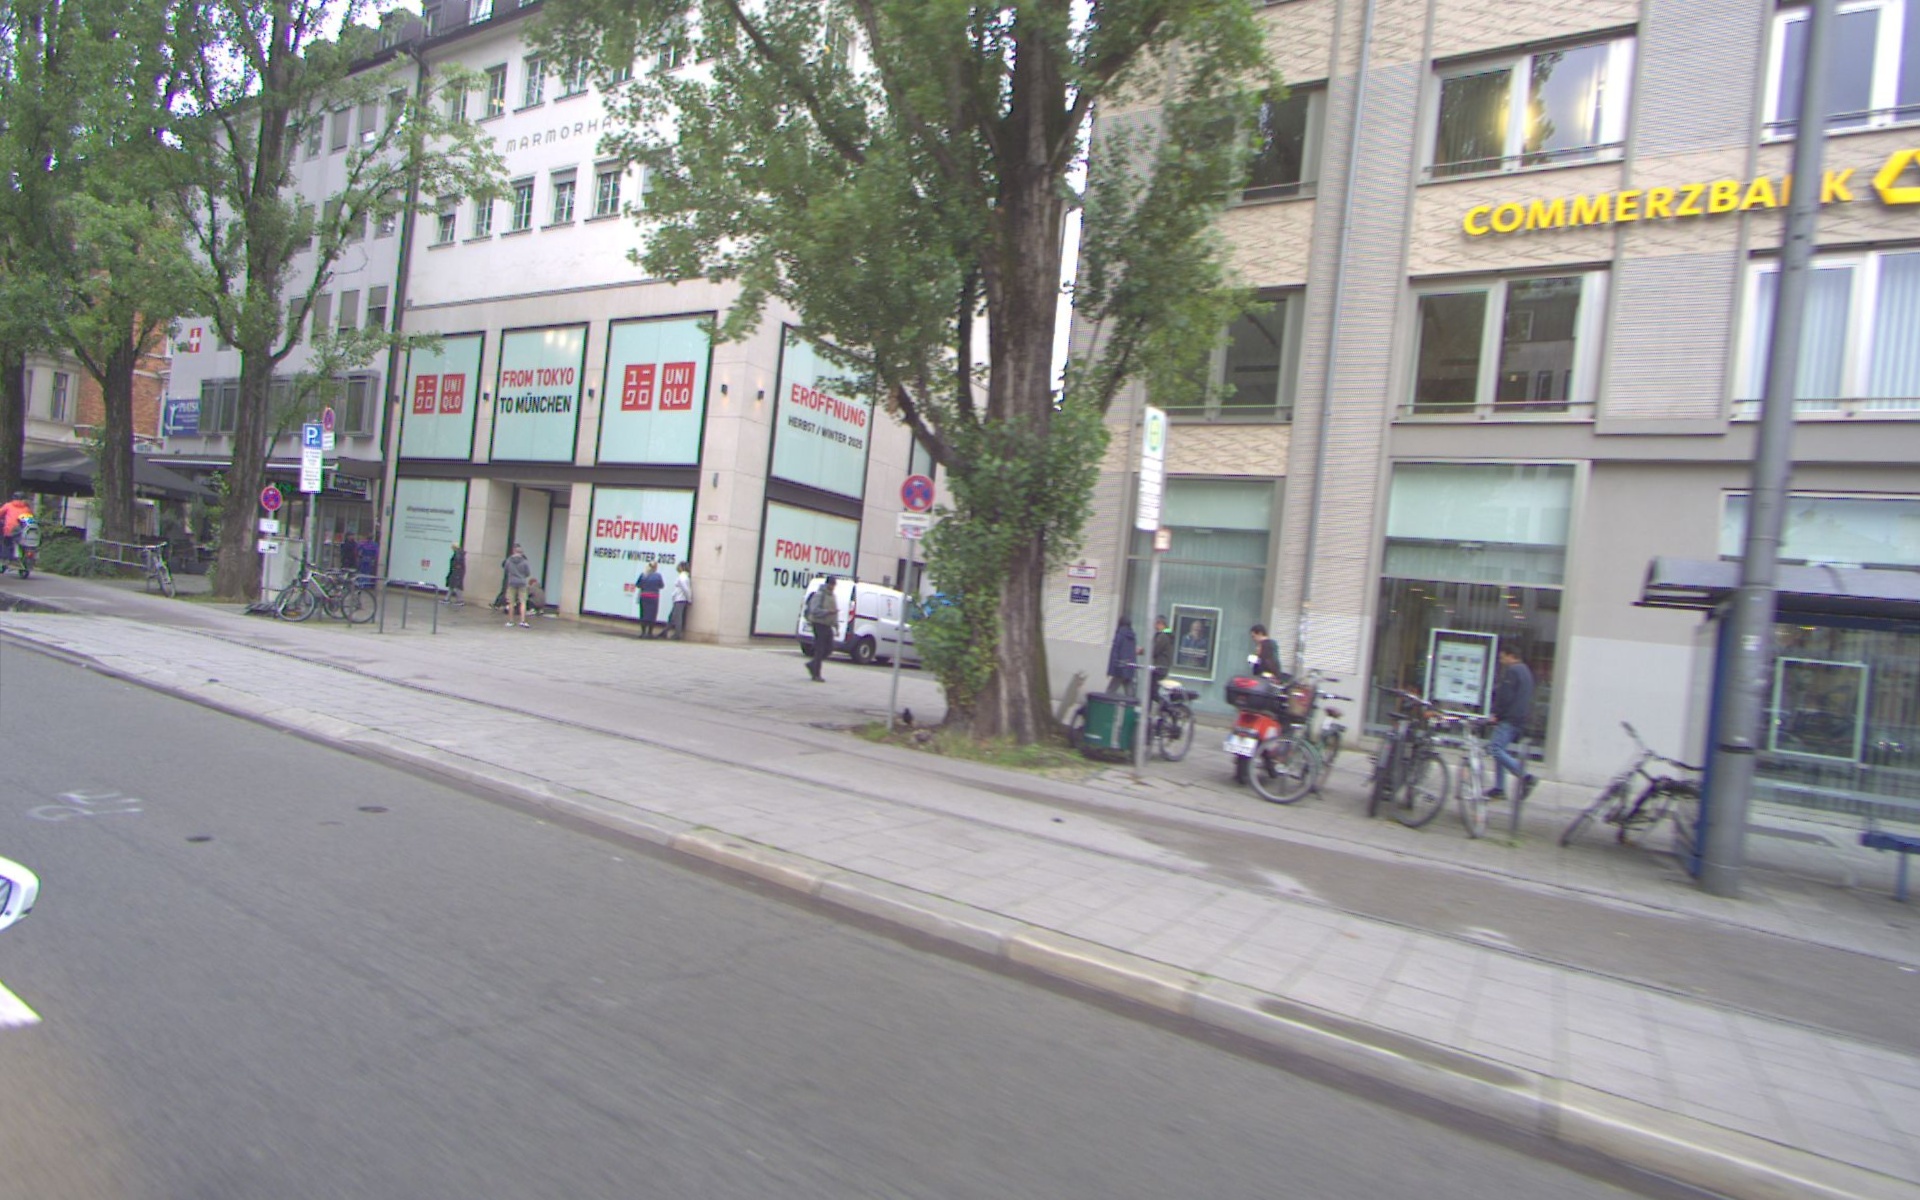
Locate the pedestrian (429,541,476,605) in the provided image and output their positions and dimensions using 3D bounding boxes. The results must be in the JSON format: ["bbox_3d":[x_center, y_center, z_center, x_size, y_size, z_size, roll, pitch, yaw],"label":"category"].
[{"bbox_3d":[-13.844,-0.727,27.445,0.815,1.629,0.670,6,0,32],"label":"pedestrian"}]

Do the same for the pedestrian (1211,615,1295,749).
[{"bbox_3d":[4.166,1.153,14.287,0.845,1.779,0.750,4,-1,33],"label":"pedestrian"}]

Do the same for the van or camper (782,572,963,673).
[{"bbox_3d":[-1.956,0.586,23.622,1.868,1.888,4.109,6,-3,35],"label":"van or camper"}]

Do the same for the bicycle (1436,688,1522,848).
[{"bbox_3d":[4.924,1.495,9.477,0.469,1.267,2.318,6,-1,31],"label":"bicycle"}]

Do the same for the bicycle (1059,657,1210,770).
[{"bbox_3d":[2.000,1.235,11.234,0.860,1.029,2.151,6,-1,31],"label":"bicycle"}]

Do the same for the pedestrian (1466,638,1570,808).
[{"bbox_3d":[6.630,1.439,11.980,0.875,1.840,0.819,6,0,30],"label":"pedestrian"}]

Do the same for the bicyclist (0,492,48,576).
[{"bbox_3d":[-19.267,-1.347,20.630,0.473,1.608,0.622,6,1,31],"label":"bicyclist"}]

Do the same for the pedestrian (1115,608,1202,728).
[{"bbox_3d":[3.118,1.056,15.776,0.947,1.739,0.751,7,0,33],"label":"pedestrian"}]

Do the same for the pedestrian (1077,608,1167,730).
[{"bbox_3d":[2.449,1.032,15.187,0.947,1.698,0.750,7,1,33],"label":"pedestrian"}]

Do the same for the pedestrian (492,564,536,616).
[{"bbox_3d":[-11.481,-0.255,25.879,0.673,1.249,0.670,7,1,33],"label":"pedestrian"}]

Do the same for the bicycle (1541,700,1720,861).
[{"bbox_3d":[6.100,1.621,9.092,2.226,1.268,0.473,7,0,-35],"label":"bicycle"}]

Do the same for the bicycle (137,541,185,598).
[{"bbox_3d":[-16.619,-0.643,20.915,1.705,1.050,0.364,6,0,40],"label":"bicycle"}]

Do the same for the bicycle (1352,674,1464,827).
[{"bbox_3d":[4.474,1.414,9.938,0.622,1.267,2.347,6,-1,31],"label":"bicycle"}]

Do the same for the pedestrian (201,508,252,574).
[{"bbox_3d":[-22.692,-1.825,31.134,1.082,1.864,0.827,6,0,34],"label":"pedestrian"}]

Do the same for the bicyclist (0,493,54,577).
[{"bbox_3d":[-18.958,-1.317,20.437,0.385,1.608,0.622,6,1,30],"label":"bicyclist"}]

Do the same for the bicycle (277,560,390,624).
[{"bbox_3d":[-11.302,-0.142,18.204,0.475,1.058,1.761,6,2,21],"label":"bicycle"}]

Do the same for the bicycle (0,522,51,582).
[{"bbox_3d":[-19.785,-1.031,20.920,2.226,1.100,0.627,6,0,31],"label":"bicycle"}]

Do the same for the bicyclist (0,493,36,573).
[{"bbox_3d":[-19.916,-1.411,21.016,0.740,1.608,0.622,6,1,31],"label":"bicyclist"}]

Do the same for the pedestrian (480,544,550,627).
[{"bbox_3d":[-9.869,-0.319,22.337,0.812,1.694,0.985,6,0,33],"label":"pedestrian"}]

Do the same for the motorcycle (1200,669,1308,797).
[{"bbox_3d":[3.065,1.329,10.381,0.501,1.153,1.726,6,0,32],"label":"motorcycle"}]

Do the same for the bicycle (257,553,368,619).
[{"bbox_3d":[-11.896,-0.246,18.550,0.440,1.125,1.741,6,2,22],"label":"bicycle"}]

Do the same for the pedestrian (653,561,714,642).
[{"bbox_3d":[-6.370,0.038,23.216,0.947,1.739,0.751,6,0,32],"label":"pedestrian"}]

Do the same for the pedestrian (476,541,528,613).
[{"bbox_3d":[-12.172,-0.595,26.753,0.851,1.786,0.684,6,0,18],"label":"pedestrian"}]

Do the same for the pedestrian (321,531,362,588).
[{"bbox_3d":[-18.696,-1.222,30.396,0.760,1.628,0.670,6,-1,39],"label":"pedestrian"}]

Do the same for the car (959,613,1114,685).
[{"bbox_3d":[2.005,1.262,24.985,1.869,1.404,4.303,6,-1,34],"label":"car"}]

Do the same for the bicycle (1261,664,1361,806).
[{"bbox_3d":[3.531,1.308,10.044,0.442,1.254,1.726,6,0,32],"label":"bicycle"}]

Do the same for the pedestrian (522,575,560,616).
[{"bbox_3d":[-11.029,-0.128,26.494,0.661,0.981,0.571,6,0,33],"label":"pedestrian"}]

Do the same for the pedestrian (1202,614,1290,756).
[{"bbox_3d":[3.858,1.128,13.553,0.845,1.779,0.750,4,-1,33],"label":"pedestrian"}]

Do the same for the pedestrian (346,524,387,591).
[{"bbox_3d":[-17.525,-1.255,29.719,0.863,1.851,0.829,6,0,-31],"label":"pedestrian"}]

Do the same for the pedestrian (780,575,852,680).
[{"bbox_3d":[-2.478,0.475,17.255,0.914,1.687,0.560,6,0,33],"label":"pedestrian"}]

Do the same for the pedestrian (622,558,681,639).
[{"bbox_3d":[-6.899,-0.034,22.480,0.947,1.683,0.652,6,1,32],"label":"pedestrian"}]
